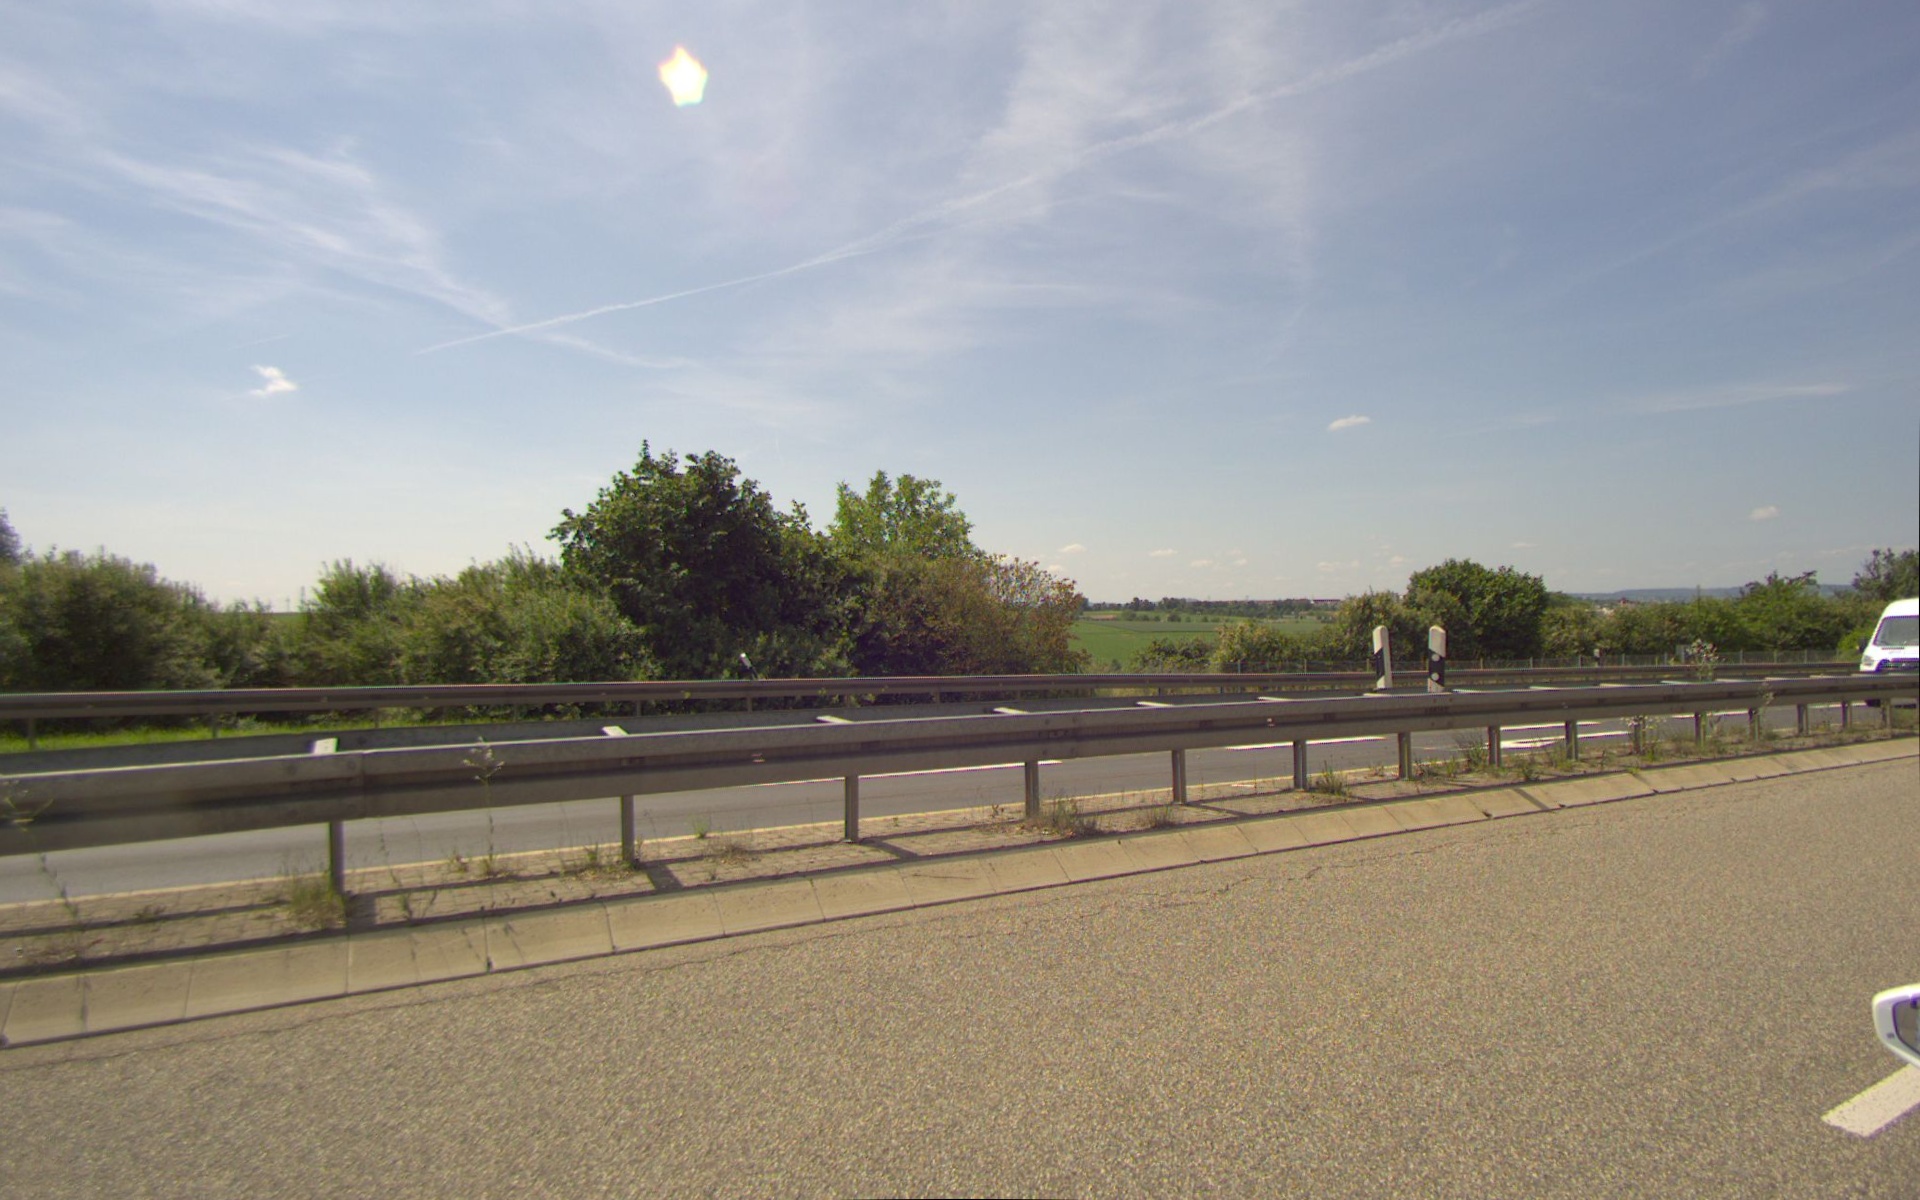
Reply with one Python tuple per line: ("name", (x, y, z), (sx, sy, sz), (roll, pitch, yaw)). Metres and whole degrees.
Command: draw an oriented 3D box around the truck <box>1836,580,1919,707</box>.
("truck", (22.546, 0.991, 22.870), (5.949, 2.655, 2.031), (1, -4, -30))
